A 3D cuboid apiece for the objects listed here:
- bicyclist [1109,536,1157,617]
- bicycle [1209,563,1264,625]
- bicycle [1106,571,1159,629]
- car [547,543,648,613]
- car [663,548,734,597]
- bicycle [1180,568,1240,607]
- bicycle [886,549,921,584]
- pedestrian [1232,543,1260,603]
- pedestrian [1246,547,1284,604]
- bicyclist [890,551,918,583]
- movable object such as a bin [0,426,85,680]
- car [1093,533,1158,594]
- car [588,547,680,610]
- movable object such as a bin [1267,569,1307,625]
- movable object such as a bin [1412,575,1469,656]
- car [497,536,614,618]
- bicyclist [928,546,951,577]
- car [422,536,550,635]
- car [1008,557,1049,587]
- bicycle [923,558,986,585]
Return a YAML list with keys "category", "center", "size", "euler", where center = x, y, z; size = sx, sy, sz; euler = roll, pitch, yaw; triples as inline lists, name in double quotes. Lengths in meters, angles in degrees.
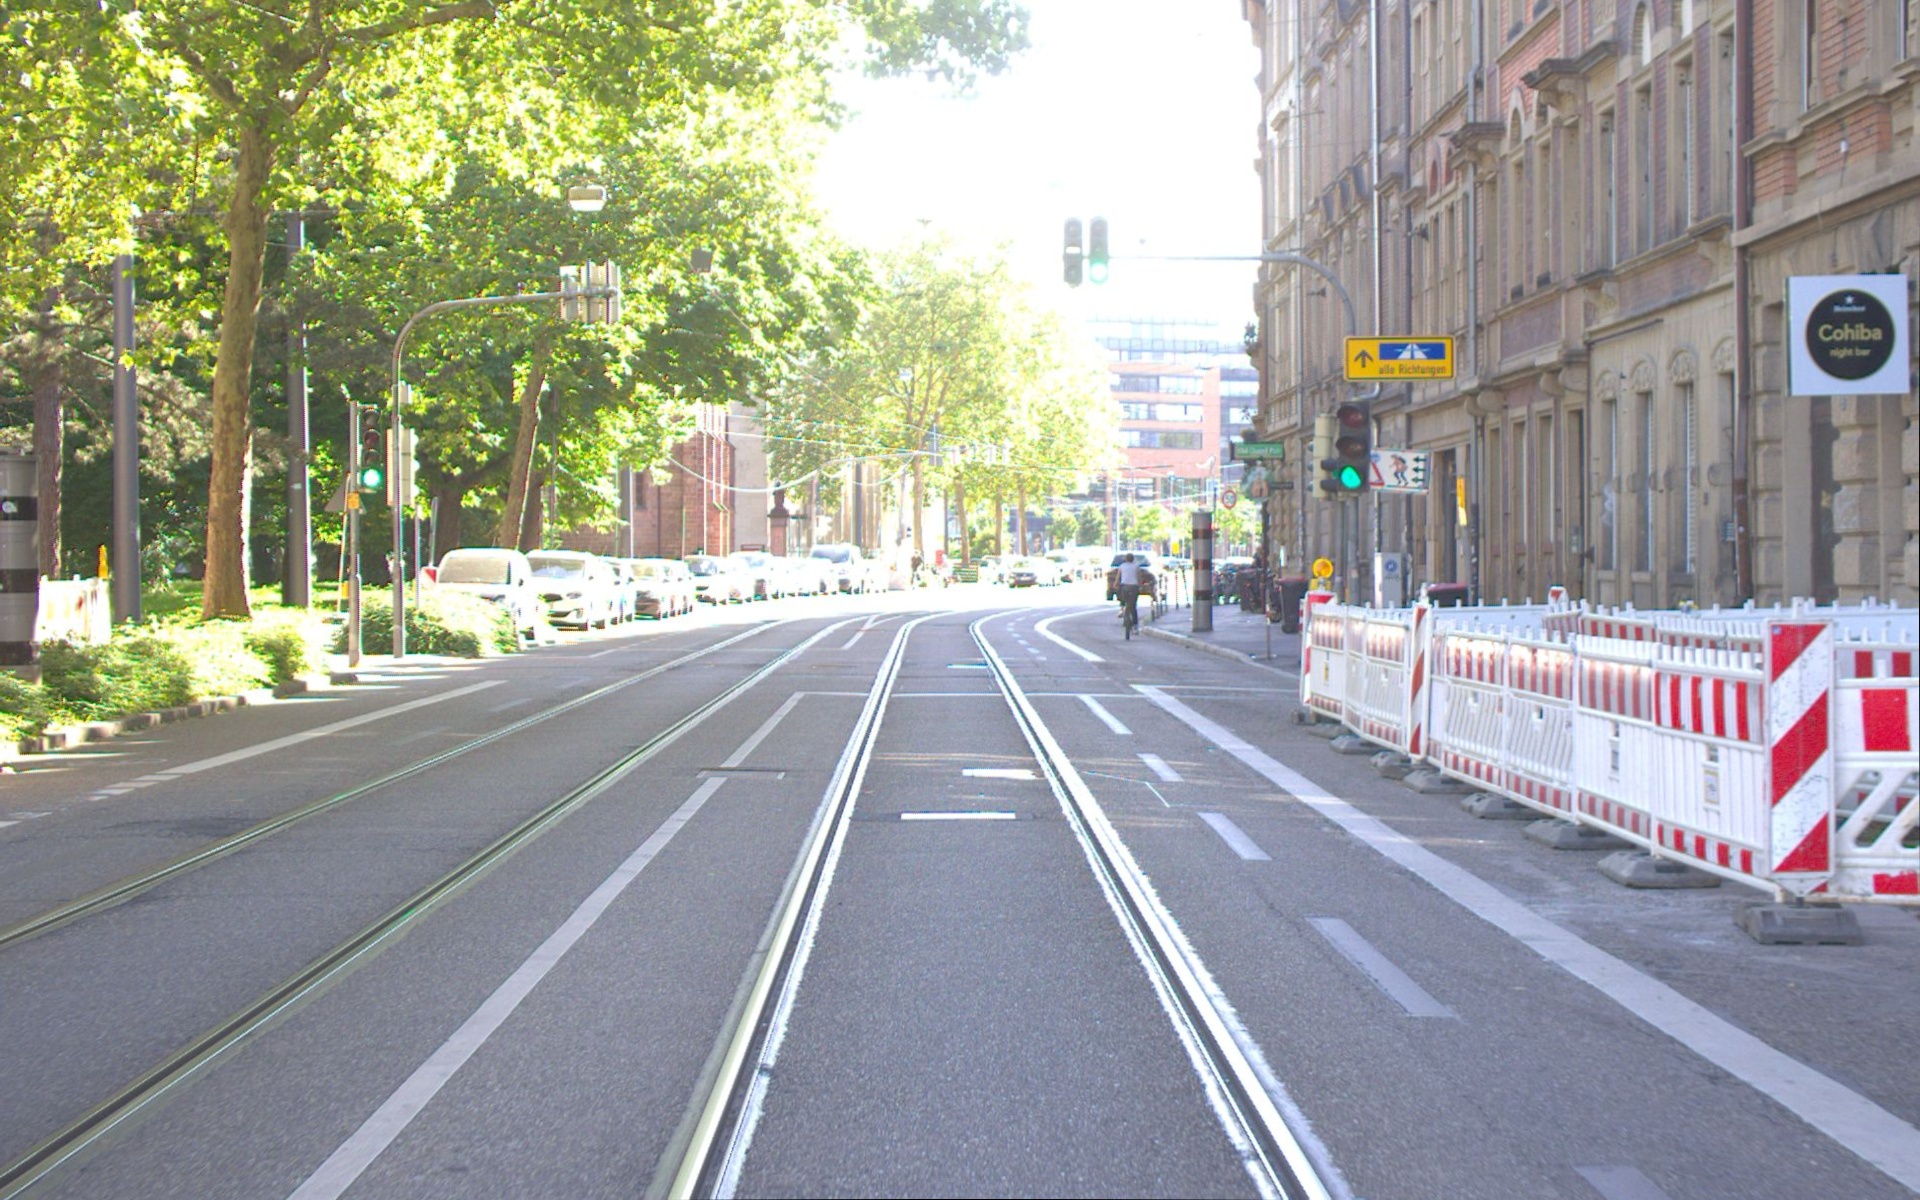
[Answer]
- category: "bicyclist"
  center: [3.369, -0.454, 66.985]
  size: [0.838, 1.552, 0.965]
  euler: [1, 0, -1]
- category: "bicycle"
  center: [6.991, -0.149, 86.789]
  size: [0.971, 1.510, 3.244]
  euler: [2, 0, 12]
- category: "bicycle"
  center: [3.350, -0.008, 66.933]
  size: [0.856, 1.084, 2.487]
  euler: [1, 0, 0]
- category: "car"
  center: [-8.523, -0.514, 81.062]
  size: [1.748, 1.581, 4.043]
  euler: [1, 0, 2]
- category: "car"
  center: [-8.302, -0.861, 109.521]
  size: [1.748, 1.490, 4.043]
  euler: [1, 0, 2]
- category: "bicycle"
  center: [7.457, -0.379, 102.407]
  size: [0.641, 1.114, 2.292]
  euler: [2, 0, 37]
- category: "bicycle"
  center: [-2.635, -1.565, 160.435]
  size: [1.234, 1.567, 2.896]
  euler: [2, 0, 7]
- category: "pedestrian"
  center: [9.171, -0.868, 110.280]
  size: [0.784, 1.882, 0.970]
  euler: [1, 0, 8]
- category: "pedestrian"
  center: [9.548, -0.778, 107.678]
  size: [1.055, 1.754, 1.332]
  euler: [1, 0, 0]
- category: "bicyclist"
  center: [-2.605, -1.540, 160.396]
  size: [1.078, 1.423, 1.146]
  euler: [2, 0, 8]
- category: "movable object such as a bin"
  center: [-11.250, -0.531, 36.746]
  size: [2.495, 2.636, 5.990]
  euler: [1, 1, -3]
- category: "car"
  center: [5.628, -1.241, 117.452]
  size: [1.993, 2.007, 4.000]
  euler: [1, 0, 0]
- category: "car"
  center: [-8.187, -0.537, 86.574]
  size: [1.748, 1.504, 4.043]
  euler: [1, 0, 2]
- category: "movable object such as a bin"
  center: [6.251, -0.060, 65.737]
  size: [0.673, 1.032, 0.813]
  euler: [0, 1, 0]
- category: "movable object such as a bin"
  center: [6.639, 0.210, 47.553]
  size: [0.620, 1.106, 0.781]
  euler: [1, 0, -3]
- category: "car"
  center: [-8.315, -0.473, 70.963]
  size: [1.748, 1.602, 4.043]
  euler: [1, 0, 2]
- category: "bicyclist"
  center: [-0.976, -1.828, 163.577]
  size: [0.899, 1.423, 1.052]
  euler: [2, 0, 9]
- category: "car"
  center: [-8.309, -0.258, 60.523]
  size: [1.545, 1.653, 3.762]
  euler: [1, 0, 2]
- category: "car"
  center: [3.370, -1.363, 168.230]
  size: [1.748, 1.417, 4.043]
  euler: [2, 0, 4]
- category: "bicycle"
  center: [-0.256, -1.351, 163.379]
  size: [2.889, 1.227, 0.883]
  euler: [2, 0, 11]
